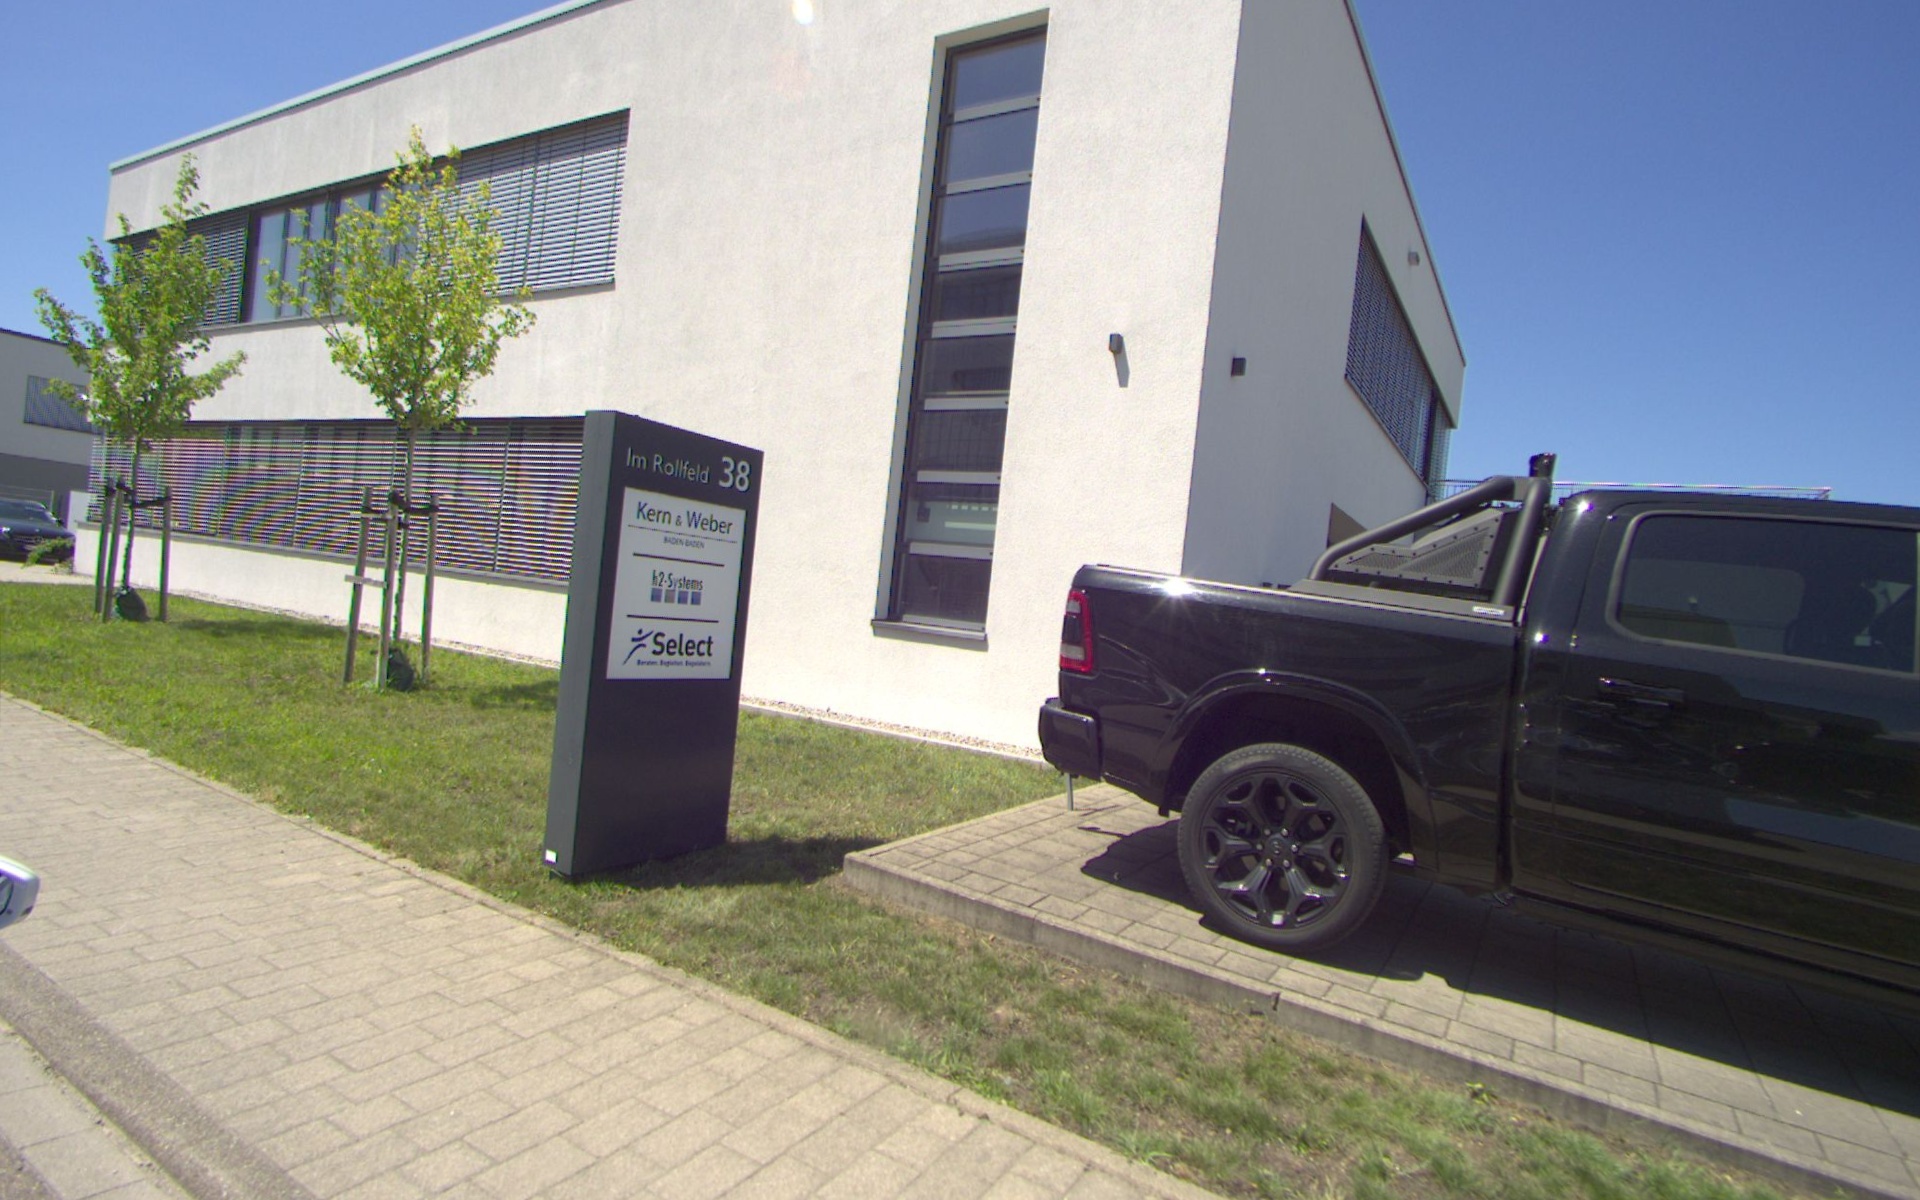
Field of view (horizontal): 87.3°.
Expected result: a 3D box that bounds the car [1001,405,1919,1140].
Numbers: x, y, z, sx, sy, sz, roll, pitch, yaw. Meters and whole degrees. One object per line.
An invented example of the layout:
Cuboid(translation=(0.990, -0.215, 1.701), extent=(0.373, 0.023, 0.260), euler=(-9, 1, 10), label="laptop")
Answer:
Cuboid(translation=(3.240, 0.590, 3.864), extent=(5.701, 2.039, 1.996), euler=(9, 2, 30), label="car")

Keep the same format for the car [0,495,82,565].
Cuboid(translation=(-23.928, -1.858, 25.212), extent=(3.956, 1.467, 1.725), euler=(6, -1, 32), label="car")
